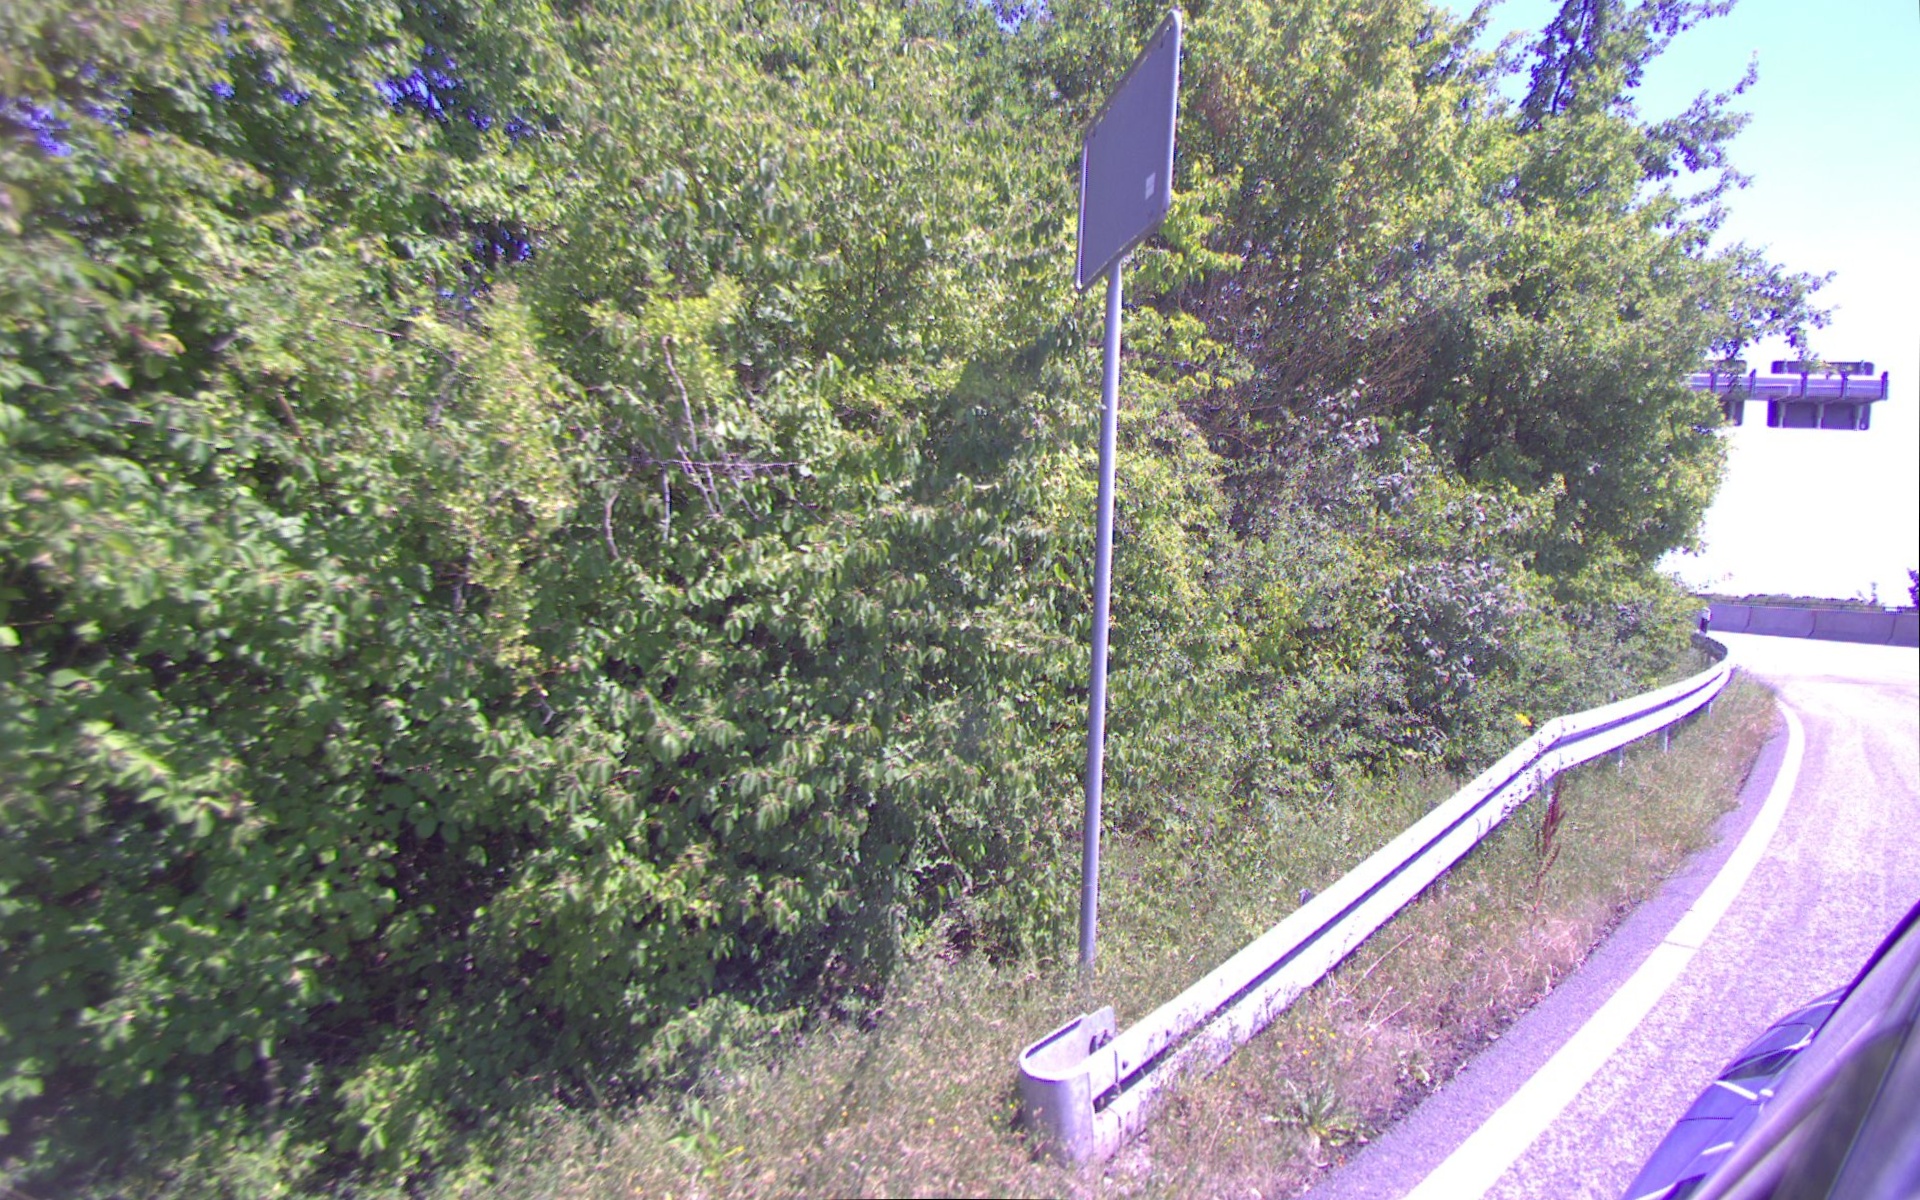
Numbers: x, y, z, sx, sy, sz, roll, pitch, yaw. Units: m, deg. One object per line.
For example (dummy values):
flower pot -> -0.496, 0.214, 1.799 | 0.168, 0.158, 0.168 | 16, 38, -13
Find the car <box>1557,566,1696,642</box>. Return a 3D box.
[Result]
car -> 22.136, 0.021, 33.943 | 2.002, 2.109, 5.850 | 1, 4, 14
